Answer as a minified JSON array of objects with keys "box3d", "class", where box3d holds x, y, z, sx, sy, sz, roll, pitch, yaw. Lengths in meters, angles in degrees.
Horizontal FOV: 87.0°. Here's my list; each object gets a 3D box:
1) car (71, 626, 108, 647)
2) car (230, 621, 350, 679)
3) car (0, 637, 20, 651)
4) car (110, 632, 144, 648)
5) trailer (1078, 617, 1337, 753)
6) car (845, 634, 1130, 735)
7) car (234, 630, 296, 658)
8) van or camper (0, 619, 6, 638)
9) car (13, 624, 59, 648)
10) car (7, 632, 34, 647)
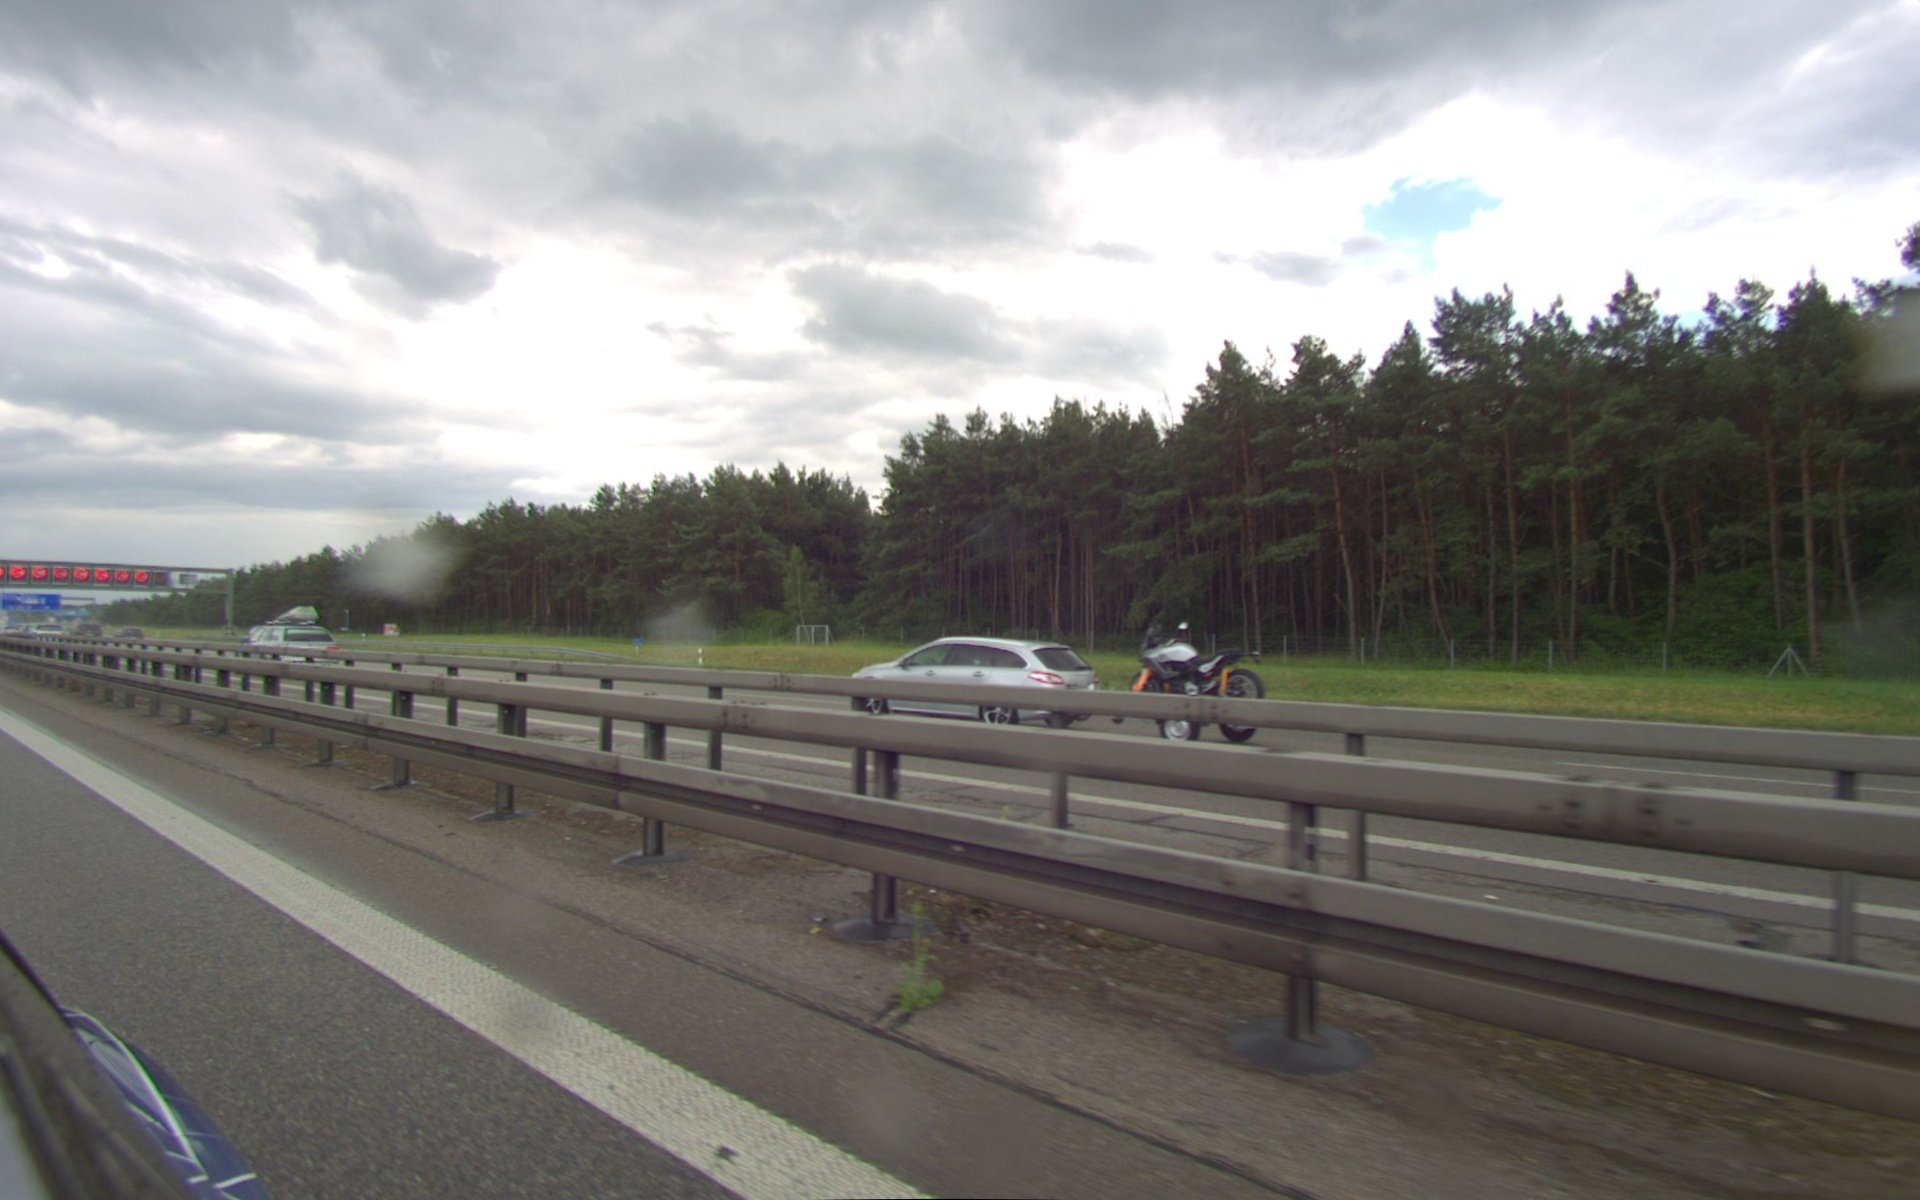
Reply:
[{"box3d":[-72.485,3.041,84.270,4.135,1.696,1.705,-1,-4,42],"class":"car"},{"box3d":[-19.586,1.433,29.524,4.400,1.559,1.766,-1,-3,41],"class":"car"},{"box3d":[-85.006,3.903,89.977,4.061,1.270,1.676,-2,-3,42],"class":"car"},{"box3d":[-76.223,3.640,92.551,4.182,1.406,1.705,-1,-4,42],"class":"car"},{"box3d":[3.412,1.115,14.169,3.205,1.685,1.466,-1,-3,39],"class":"trailer"},{"box3d":[0.352,1.313,16.733,4.568,1.431,1.810,-1,-4,39],"class":"car"},{"box3d":[-40.668,2.552,59.165,4.511,1.559,1.880,-1,-4,42],"class":"car"},{"box3d":[-165.175,4.895,173.282,7.546,3.137,2.275,-3,-4,45],"class":"van or camper"},{"box3d":[-57.003,2.192,62.391,3.998,1.386,1.675,-1,-2,42],"class":"car"},{"box3d":[-101.525,4.289,109.339,3.846,1.591,1.734,-1,-2,42],"class":"car"}]
